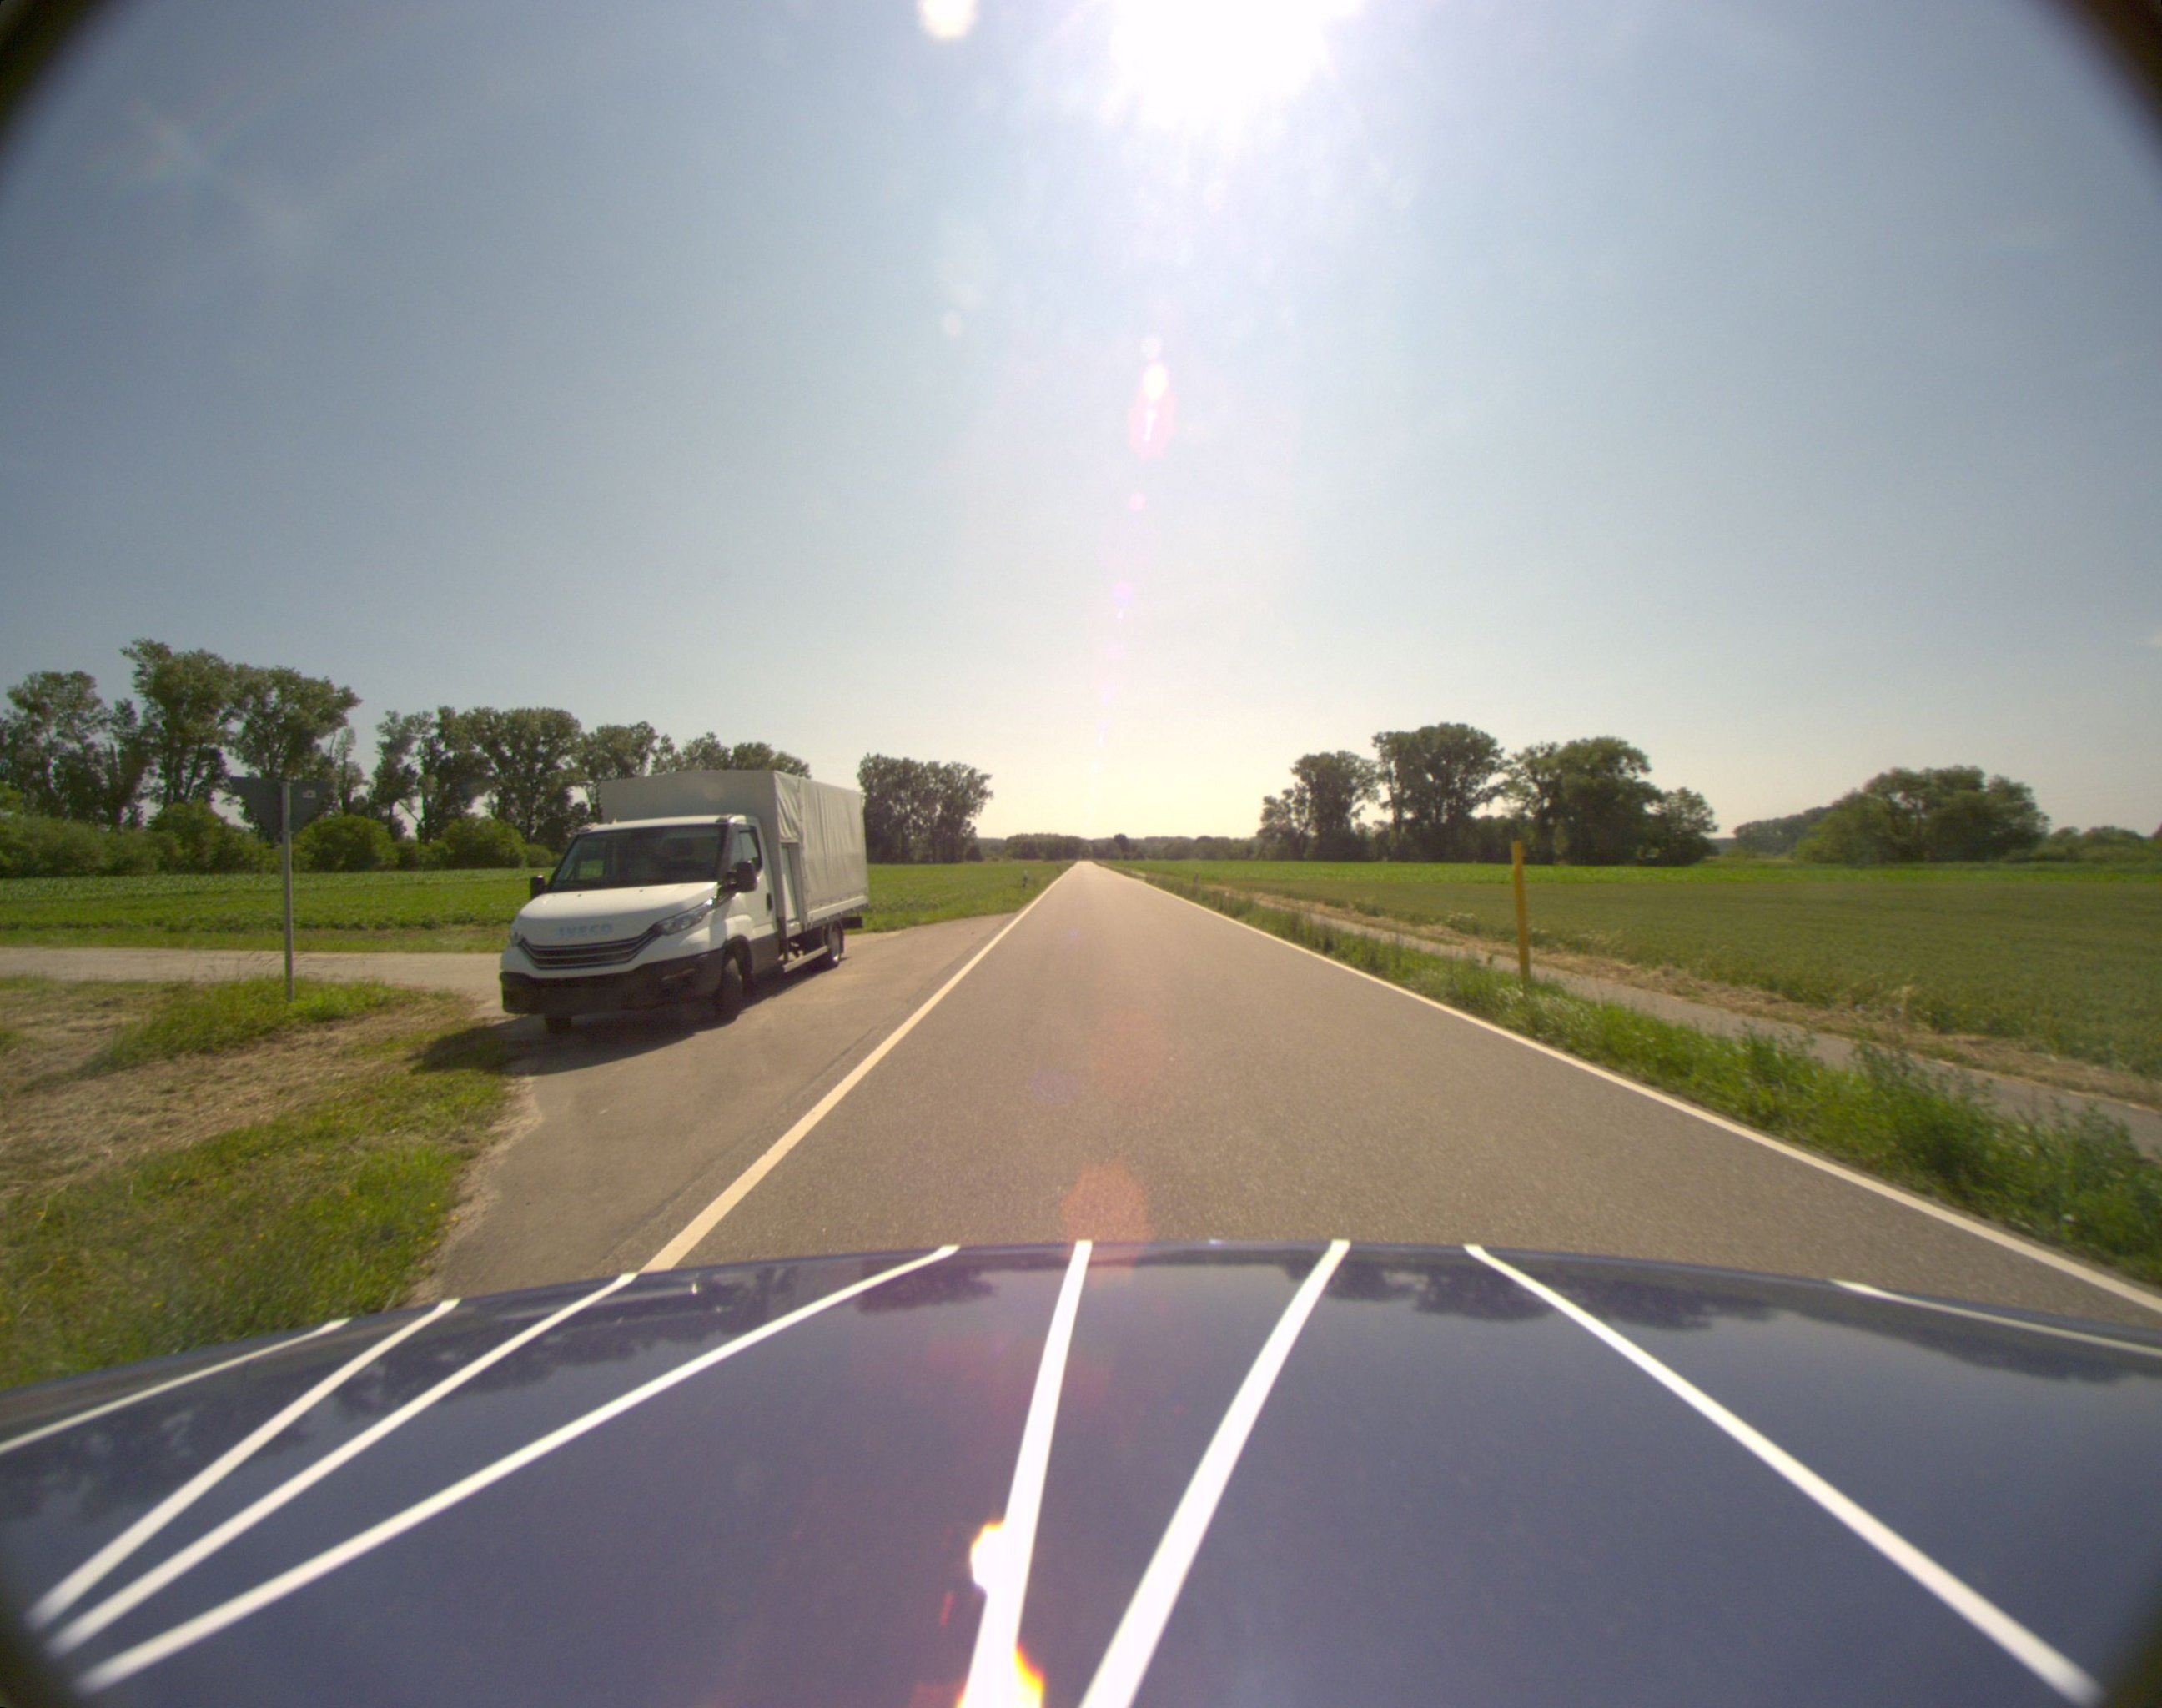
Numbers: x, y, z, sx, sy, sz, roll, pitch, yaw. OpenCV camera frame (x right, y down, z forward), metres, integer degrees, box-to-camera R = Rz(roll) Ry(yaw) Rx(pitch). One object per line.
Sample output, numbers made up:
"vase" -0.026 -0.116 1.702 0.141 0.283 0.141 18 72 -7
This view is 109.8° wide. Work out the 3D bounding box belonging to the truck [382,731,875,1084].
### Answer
"truck" -4.853 0.444 10.091 2.342 2.925 7.007 -3 0 -2
